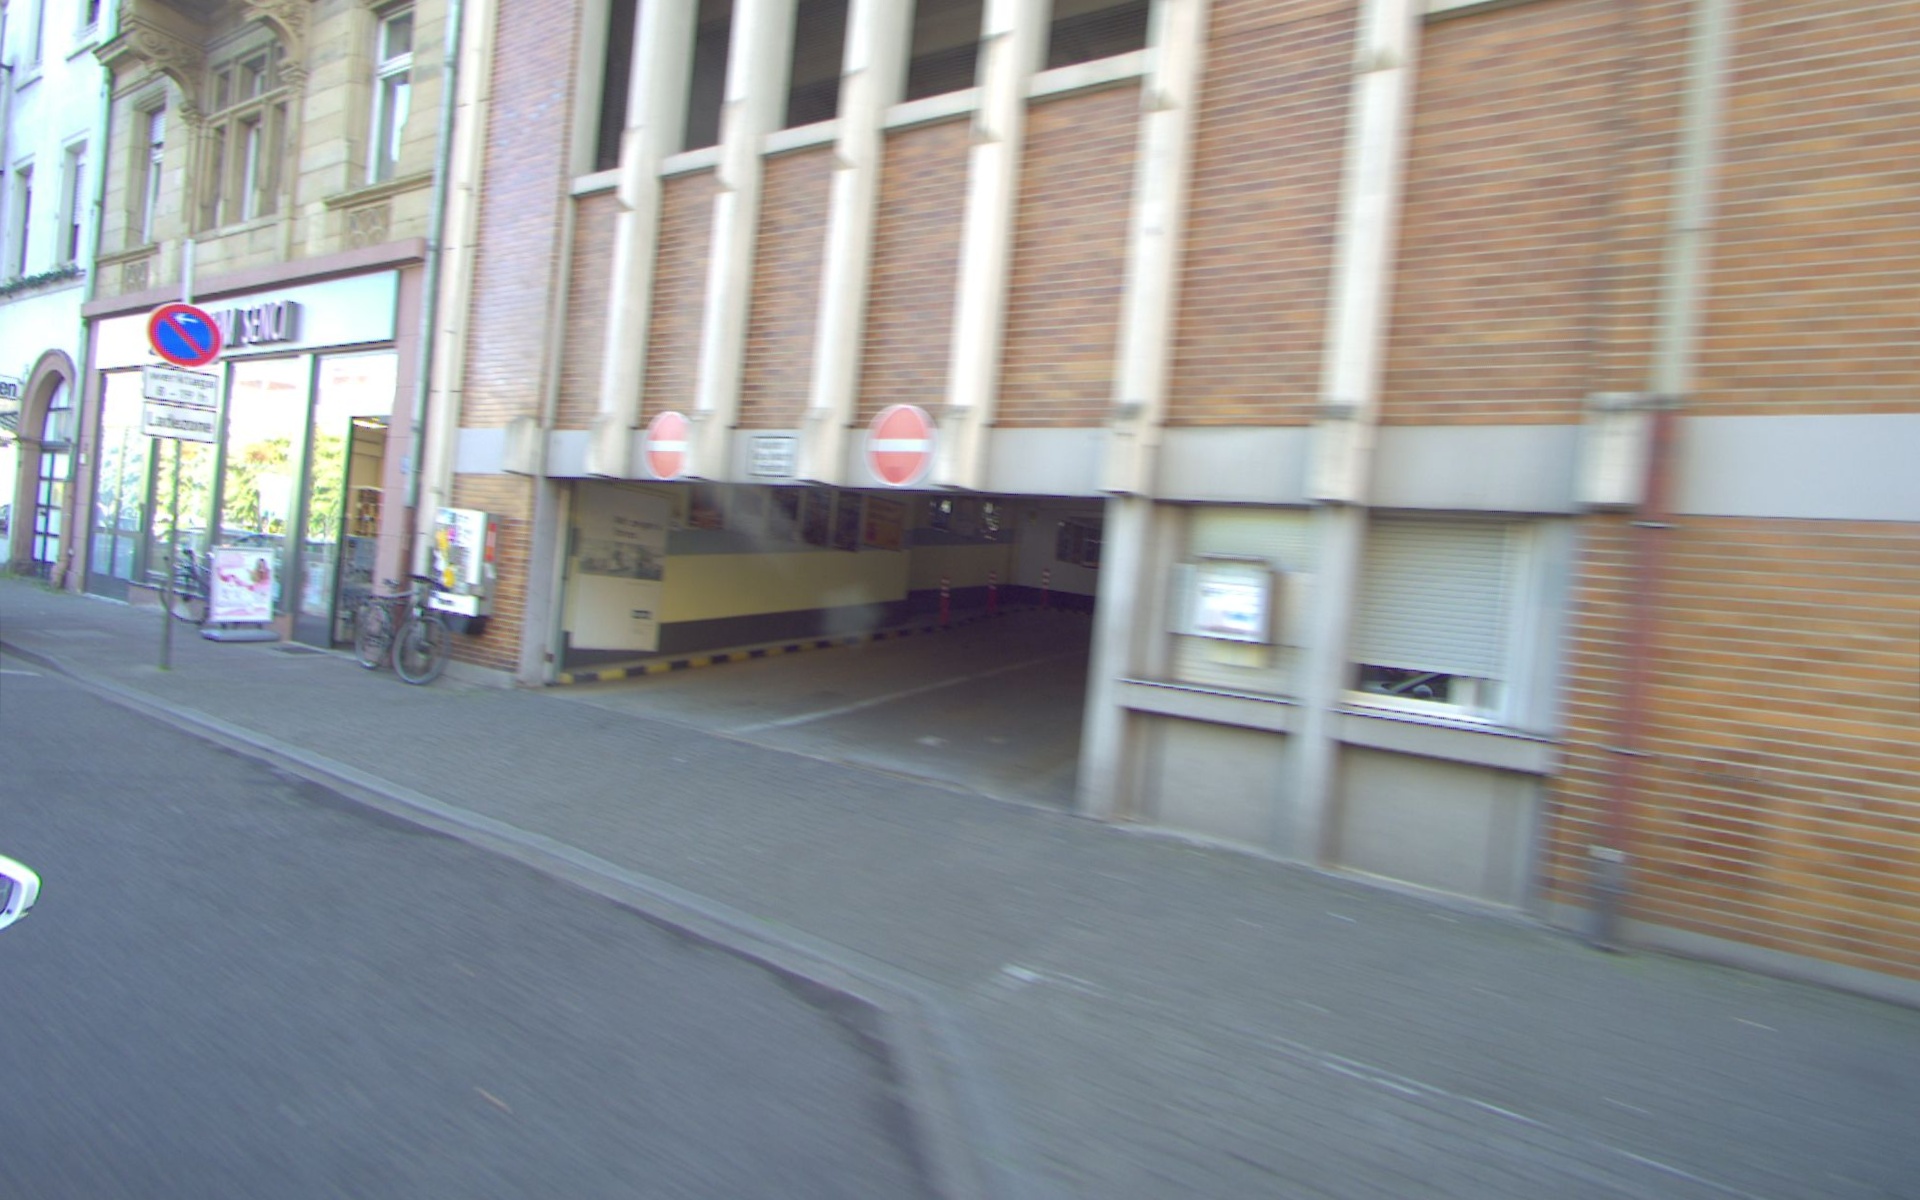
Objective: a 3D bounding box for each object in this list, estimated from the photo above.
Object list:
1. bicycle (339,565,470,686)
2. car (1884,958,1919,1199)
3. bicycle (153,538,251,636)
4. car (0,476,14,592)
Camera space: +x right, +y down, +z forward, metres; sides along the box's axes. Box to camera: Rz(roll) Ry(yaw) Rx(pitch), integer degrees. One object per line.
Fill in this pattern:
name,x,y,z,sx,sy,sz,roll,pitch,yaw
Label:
bicycle,-5.830,0.239,10.519,1.761,1.059,0.358,7,3,33
car,4.075,1.197,0.545,4.884,1.499,1.915,7,4,33
bicycle,-9.928,-0.183,13.153,1.910,1.100,0.358,7,3,33
car,-12.003,-0.665,10.481,4.746,1.746,1.976,7,-1,33
